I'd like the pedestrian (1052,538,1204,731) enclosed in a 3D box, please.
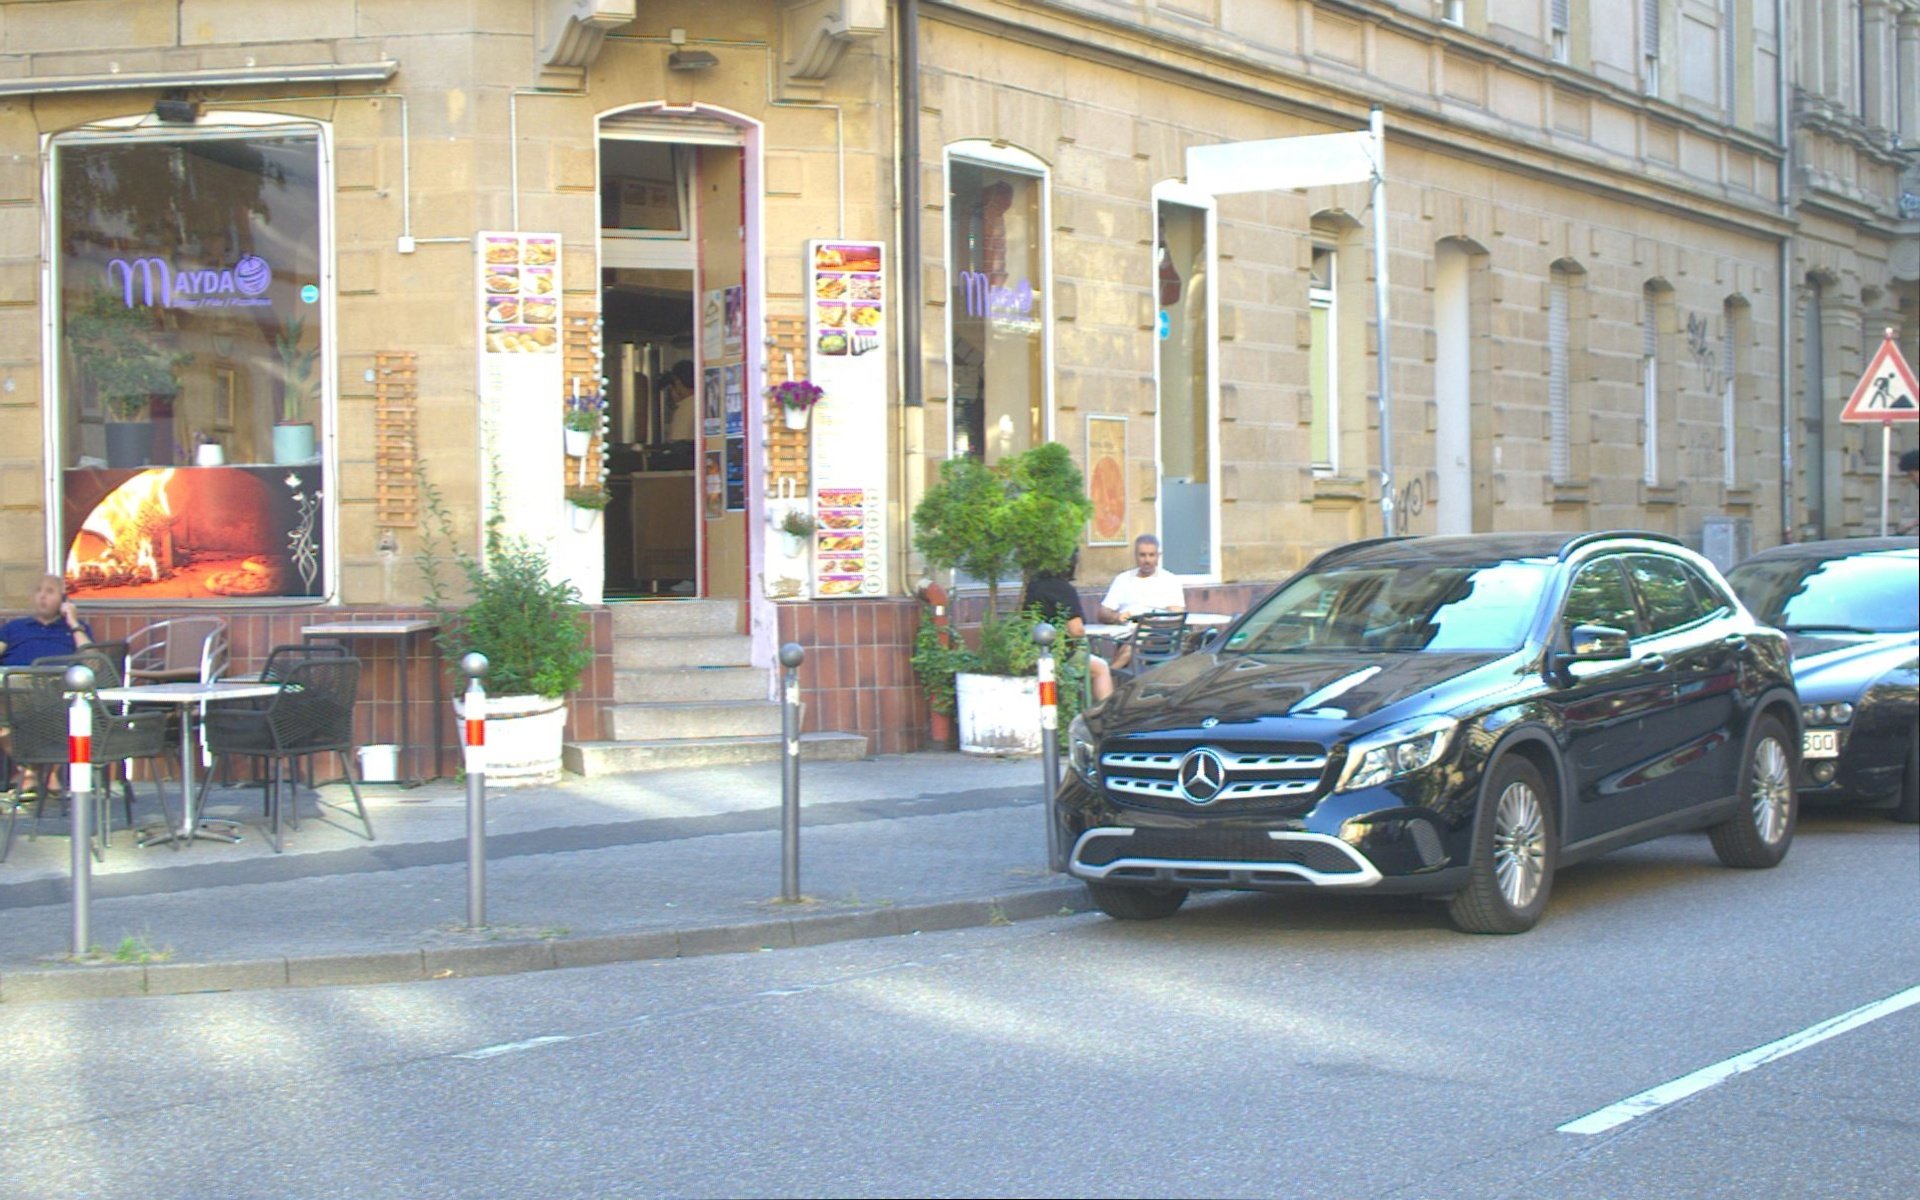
[{"bbox_3d":[1.086,0.211,22.131,0.726,1.209,0.756,0,1,26],"label":"pedestrian"}]

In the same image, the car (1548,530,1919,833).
[{"bbox_3d":[4.987,0.348,18.773,1.762,1.447,4.542,-1,1,34],"label":"car"}]

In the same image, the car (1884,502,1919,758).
[{"bbox_3d":[7.773,0.098,22.966,1.762,1.594,4.542,-1,1,33],"label":"car"}]

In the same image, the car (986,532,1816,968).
[{"bbox_3d":[1.969,0.500,14.157,1.762,1.482,4.131,-1,1,33],"label":"car"}]

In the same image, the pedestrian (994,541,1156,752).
[{"bbox_3d":[0.709,0.273,21.025,0.726,1.254,0.756,0,1,26],"label":"pedestrian"}]

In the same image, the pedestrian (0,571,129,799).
[{"bbox_3d":[-5.060,0.454,18.830,0.725,1.209,0.756,-1,1,9],"label":"pedestrian"}]

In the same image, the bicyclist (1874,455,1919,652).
[{"bbox_3d":[9.067,-0.419,31.608,0.997,1.784,1.205,-1,-1,29],"label":"bicyclist"}]
